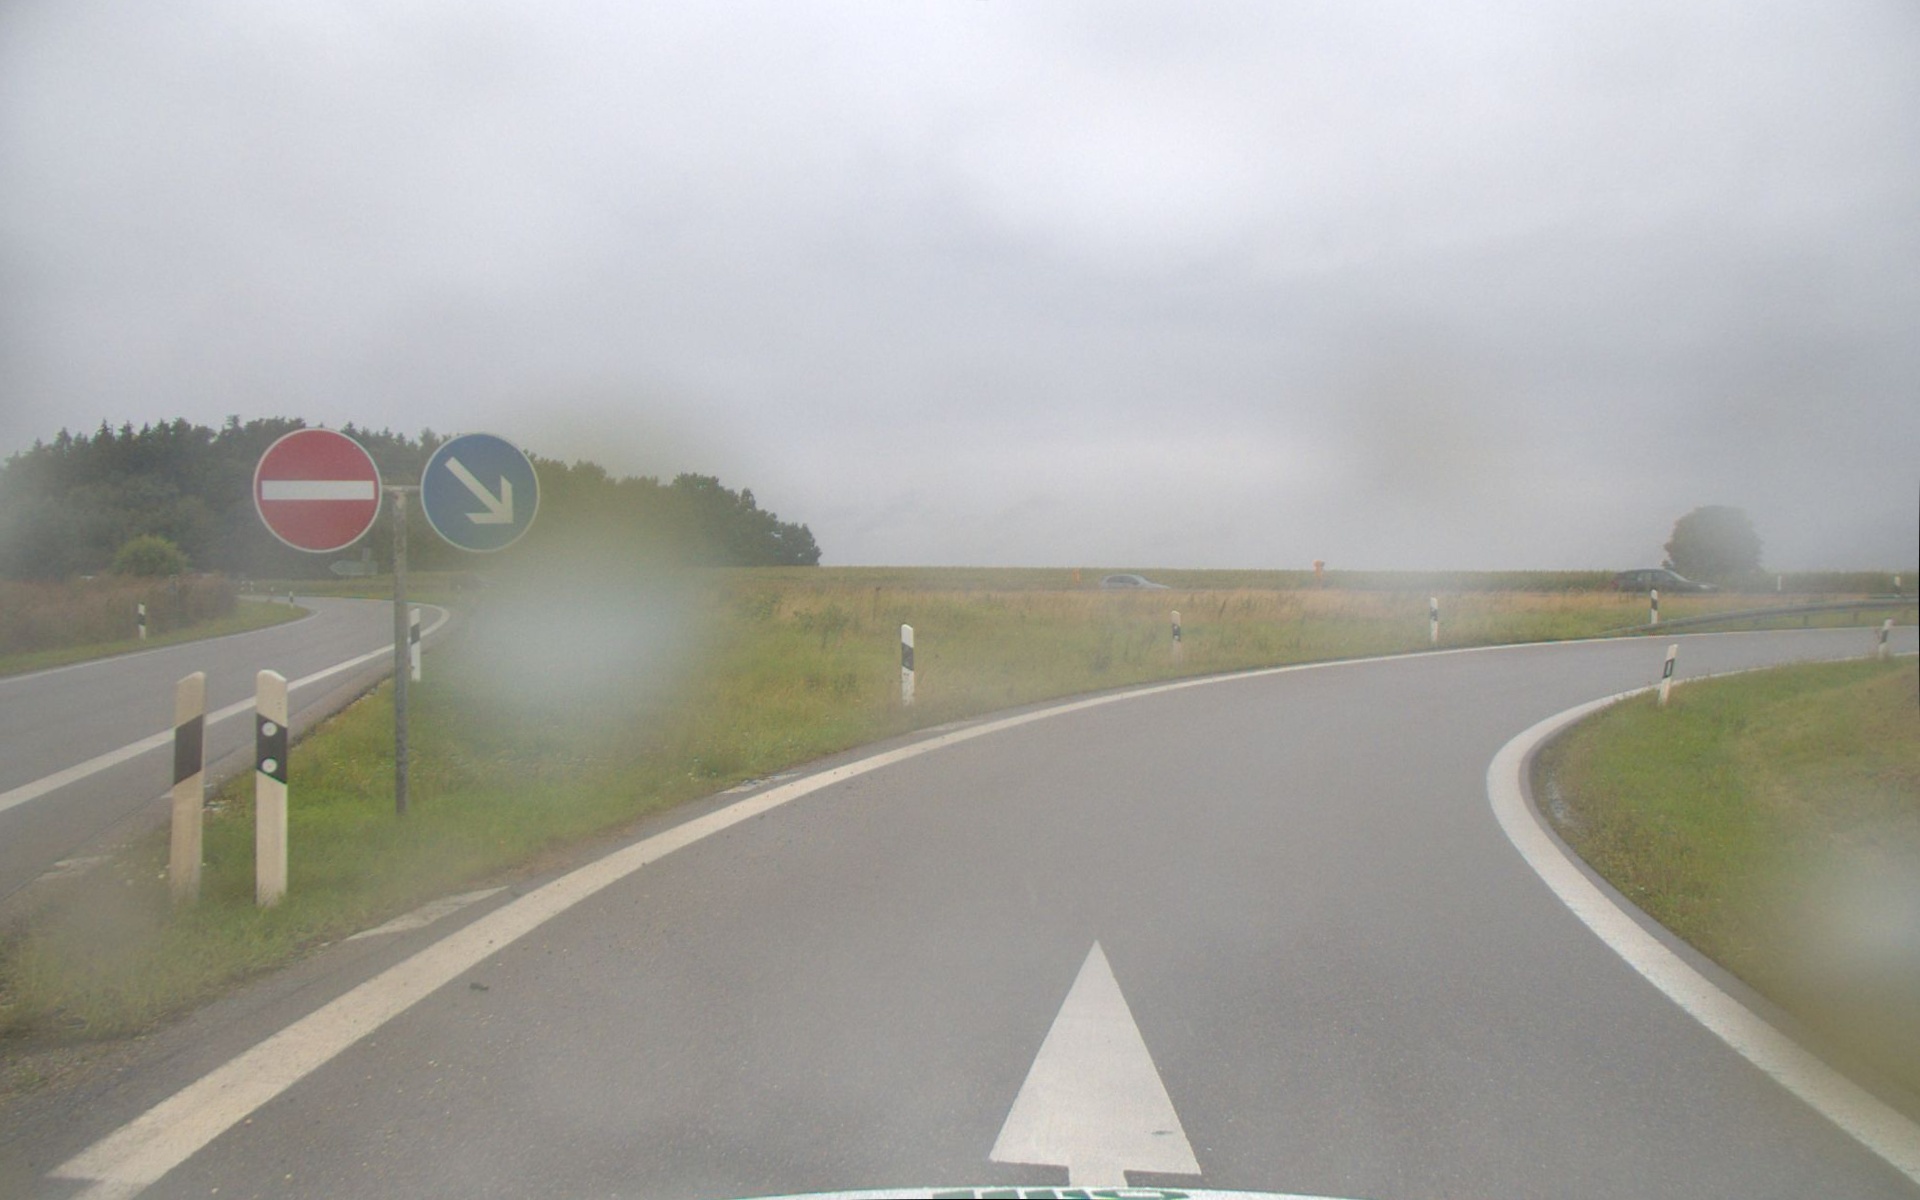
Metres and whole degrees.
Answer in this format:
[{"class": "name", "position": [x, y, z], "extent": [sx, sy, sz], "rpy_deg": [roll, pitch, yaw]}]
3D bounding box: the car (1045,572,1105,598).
[{"class": "car", "position": [8.080, -1.055, 116.219], "extent": [3.916, 1.767, 1.731], "rpy_deg": [0, 1, 33]}]

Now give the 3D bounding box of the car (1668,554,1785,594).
[{"class": "car", "position": [33.046, -1.130, 71.355], "extent": [4.263, 1.664, 2.052], "rpy_deg": [1, 1, 37]}]
